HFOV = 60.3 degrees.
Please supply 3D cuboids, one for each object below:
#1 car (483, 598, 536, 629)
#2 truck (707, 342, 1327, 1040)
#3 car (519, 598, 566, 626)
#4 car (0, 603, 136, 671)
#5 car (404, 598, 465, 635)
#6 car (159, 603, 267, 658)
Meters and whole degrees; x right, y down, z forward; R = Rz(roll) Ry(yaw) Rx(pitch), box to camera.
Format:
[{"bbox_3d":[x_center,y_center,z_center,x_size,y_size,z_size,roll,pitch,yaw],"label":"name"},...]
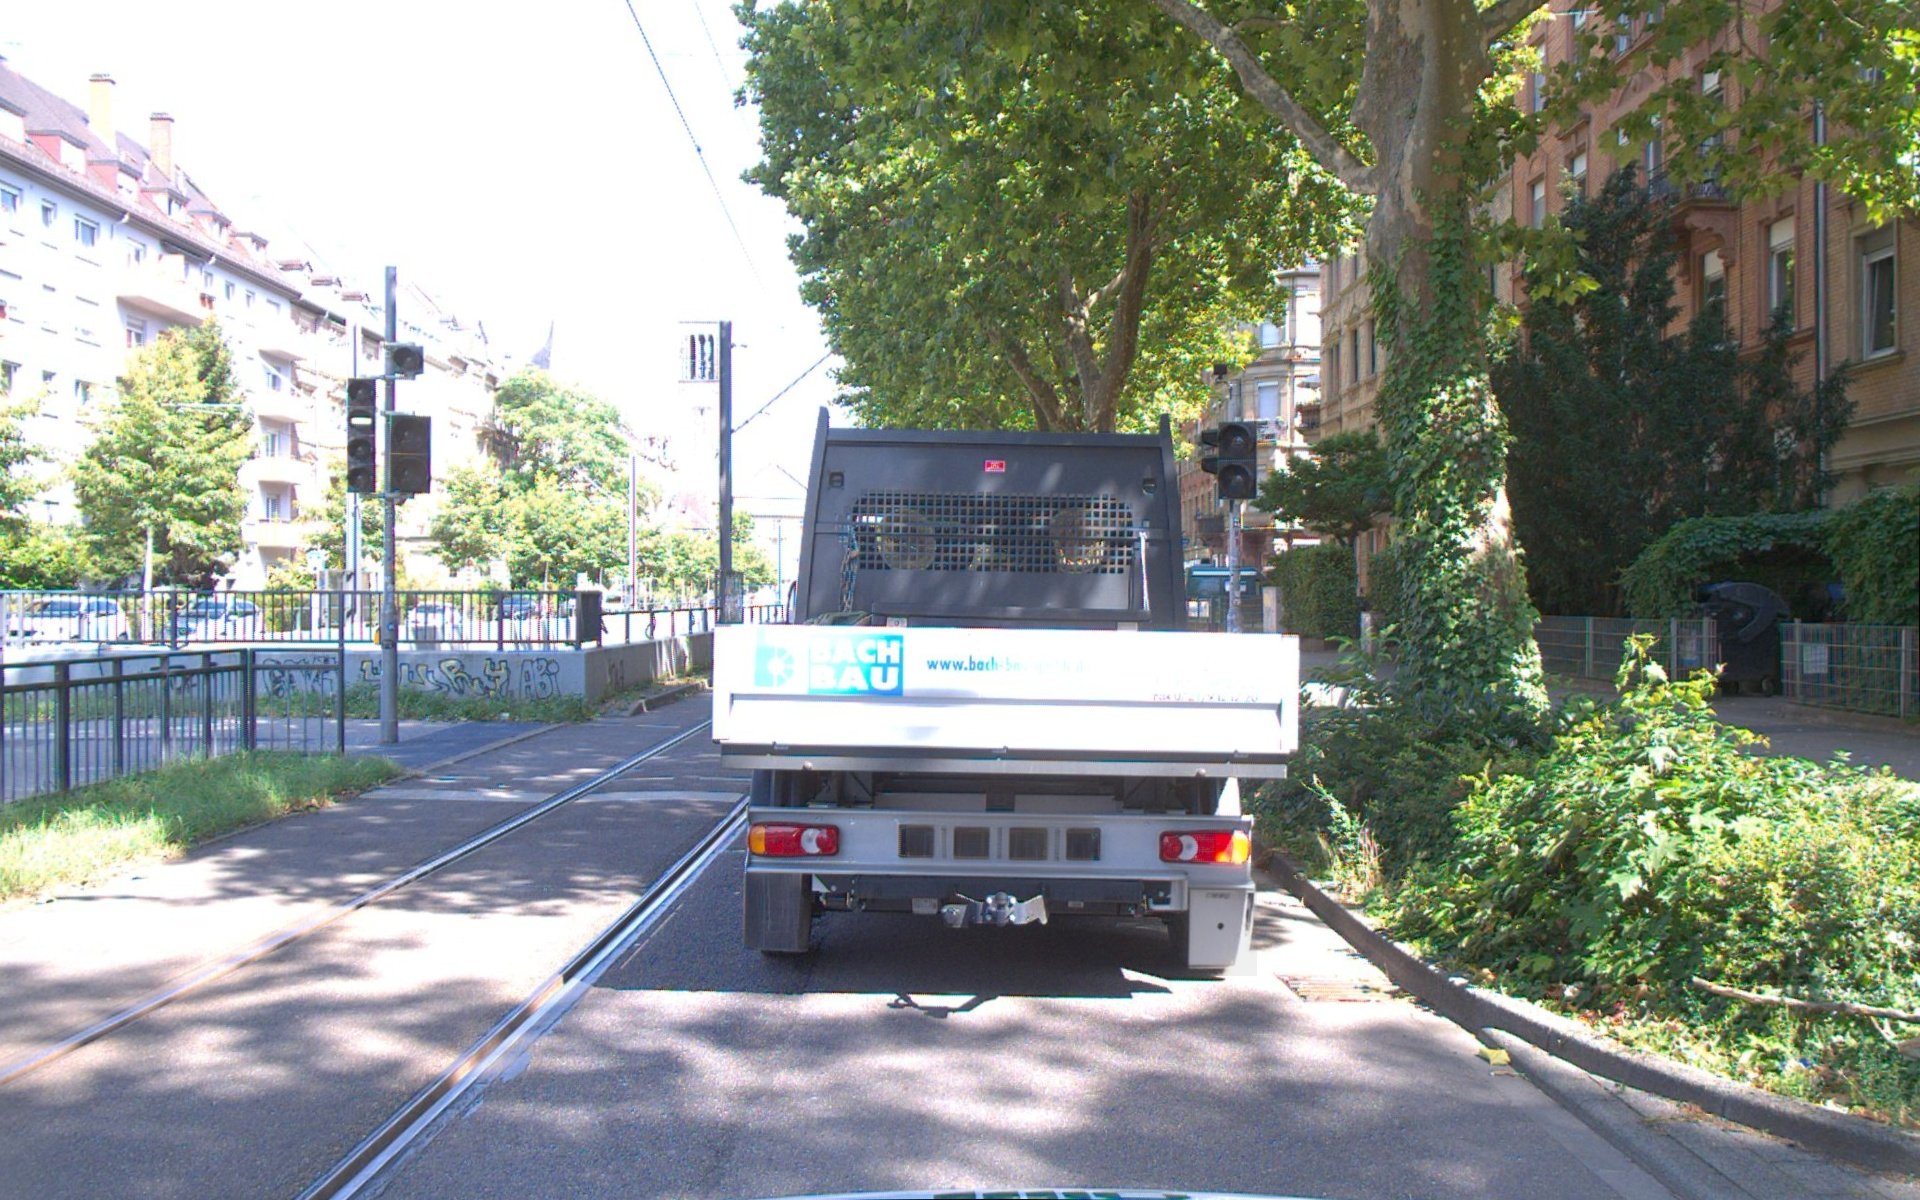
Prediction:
[{"bbox_3d":[-22.878,0.668,84.098,1.735,1.524,3.998,0,0,-2],"label":"car"},{"bbox_3d":[0.200,0.306,7.831,2.094,2.359,4.401,0,0,0],"label":"truck"},{"bbox_3d":[-23.160,0.663,91.931,1.735,1.524,3.998,0,0,-2],"label":"car"},{"bbox_3d":[-21.941,0.874,40.619,1.737,1.524,3.994,-2,0,-6],"label":"car"},{"bbox_3d":[-22.383,0.674,70.532,1.736,1.524,3.994,0,0,-6],"label":"car"},{"bbox_3d":[-22.113,0.871,49.105,1.737,1.524,3.994,-2,0,-6],"label":"car"}]
